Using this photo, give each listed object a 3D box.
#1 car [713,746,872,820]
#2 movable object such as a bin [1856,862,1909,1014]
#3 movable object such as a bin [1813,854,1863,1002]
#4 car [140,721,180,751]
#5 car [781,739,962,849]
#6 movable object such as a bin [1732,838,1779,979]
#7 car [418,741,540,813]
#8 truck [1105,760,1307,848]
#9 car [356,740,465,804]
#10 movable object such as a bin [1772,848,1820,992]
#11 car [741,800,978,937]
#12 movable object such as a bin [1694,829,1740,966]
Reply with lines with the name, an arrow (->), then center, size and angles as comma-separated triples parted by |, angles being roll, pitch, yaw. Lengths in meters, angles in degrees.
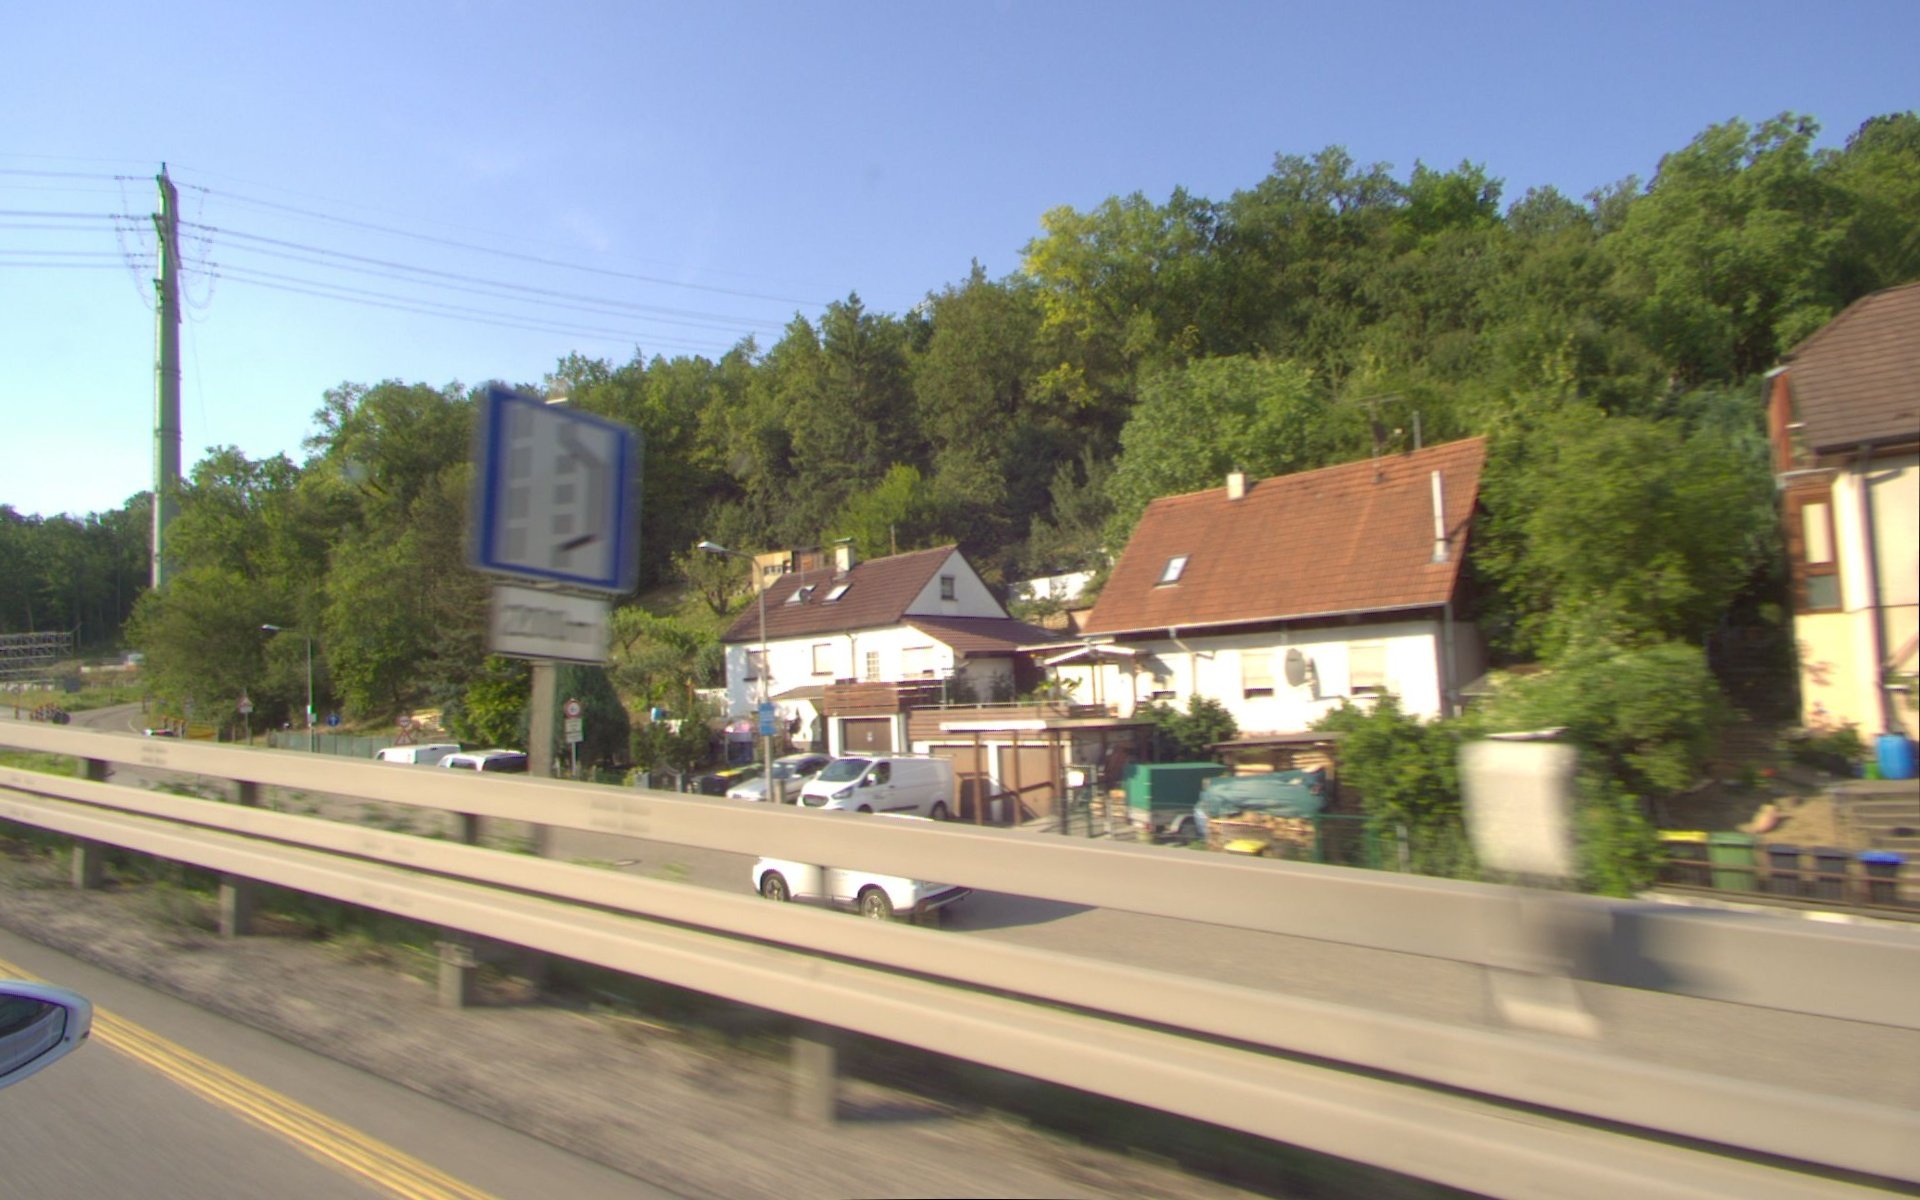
car -> -5.069, 5.580, 31.031 | 1.695, 1.576, 5.073 | -3, -3, 37
movable object such as a bin -> 11.883, 4.324, 12.906 | 0.409, 1.787, 0.488 | -4, -12, 42
movable object such as a bin -> 11.564, 4.288, 13.191 | 0.409, 1.787, 0.488 | -4, -12, 42
car -> -51.872, 8.775, 64.900 | 4.225, 1.479, 1.516 | -2, -1, 44
car -> -2.382, 5.374, 28.546 | 1.975, 2.292, 5.449 | -3, -4, 37
movable object such as a bin -> 10.962, 4.218, 13.793 | 0.404, 1.787, 0.534 | -4, -12, 42
car -> -16.634, 6.021, 34.520 | 4.810, 1.941, 1.986 | -5, -3, 41
truck -> 5.500, 4.555, 22.649 | 3.926, 1.756, 2.003 | 1, -8, -12
car -> -21.212, 6.546, 38.568 | 4.993, 2.011, 1.855 | -4, -2, 38
movable object such as a bin -> 11.261, 4.276, 13.490 | 0.409, 1.787, 0.488 | -4, -12, 42
car -> -1.937, 4.804, 18.441 | 4.419, 1.682, 1.661 | -4, -2, 39
movable object such as a bin -> 10.661, 4.160, 14.101 | 0.412, 1.787, 0.528 | -4, -12, 42
